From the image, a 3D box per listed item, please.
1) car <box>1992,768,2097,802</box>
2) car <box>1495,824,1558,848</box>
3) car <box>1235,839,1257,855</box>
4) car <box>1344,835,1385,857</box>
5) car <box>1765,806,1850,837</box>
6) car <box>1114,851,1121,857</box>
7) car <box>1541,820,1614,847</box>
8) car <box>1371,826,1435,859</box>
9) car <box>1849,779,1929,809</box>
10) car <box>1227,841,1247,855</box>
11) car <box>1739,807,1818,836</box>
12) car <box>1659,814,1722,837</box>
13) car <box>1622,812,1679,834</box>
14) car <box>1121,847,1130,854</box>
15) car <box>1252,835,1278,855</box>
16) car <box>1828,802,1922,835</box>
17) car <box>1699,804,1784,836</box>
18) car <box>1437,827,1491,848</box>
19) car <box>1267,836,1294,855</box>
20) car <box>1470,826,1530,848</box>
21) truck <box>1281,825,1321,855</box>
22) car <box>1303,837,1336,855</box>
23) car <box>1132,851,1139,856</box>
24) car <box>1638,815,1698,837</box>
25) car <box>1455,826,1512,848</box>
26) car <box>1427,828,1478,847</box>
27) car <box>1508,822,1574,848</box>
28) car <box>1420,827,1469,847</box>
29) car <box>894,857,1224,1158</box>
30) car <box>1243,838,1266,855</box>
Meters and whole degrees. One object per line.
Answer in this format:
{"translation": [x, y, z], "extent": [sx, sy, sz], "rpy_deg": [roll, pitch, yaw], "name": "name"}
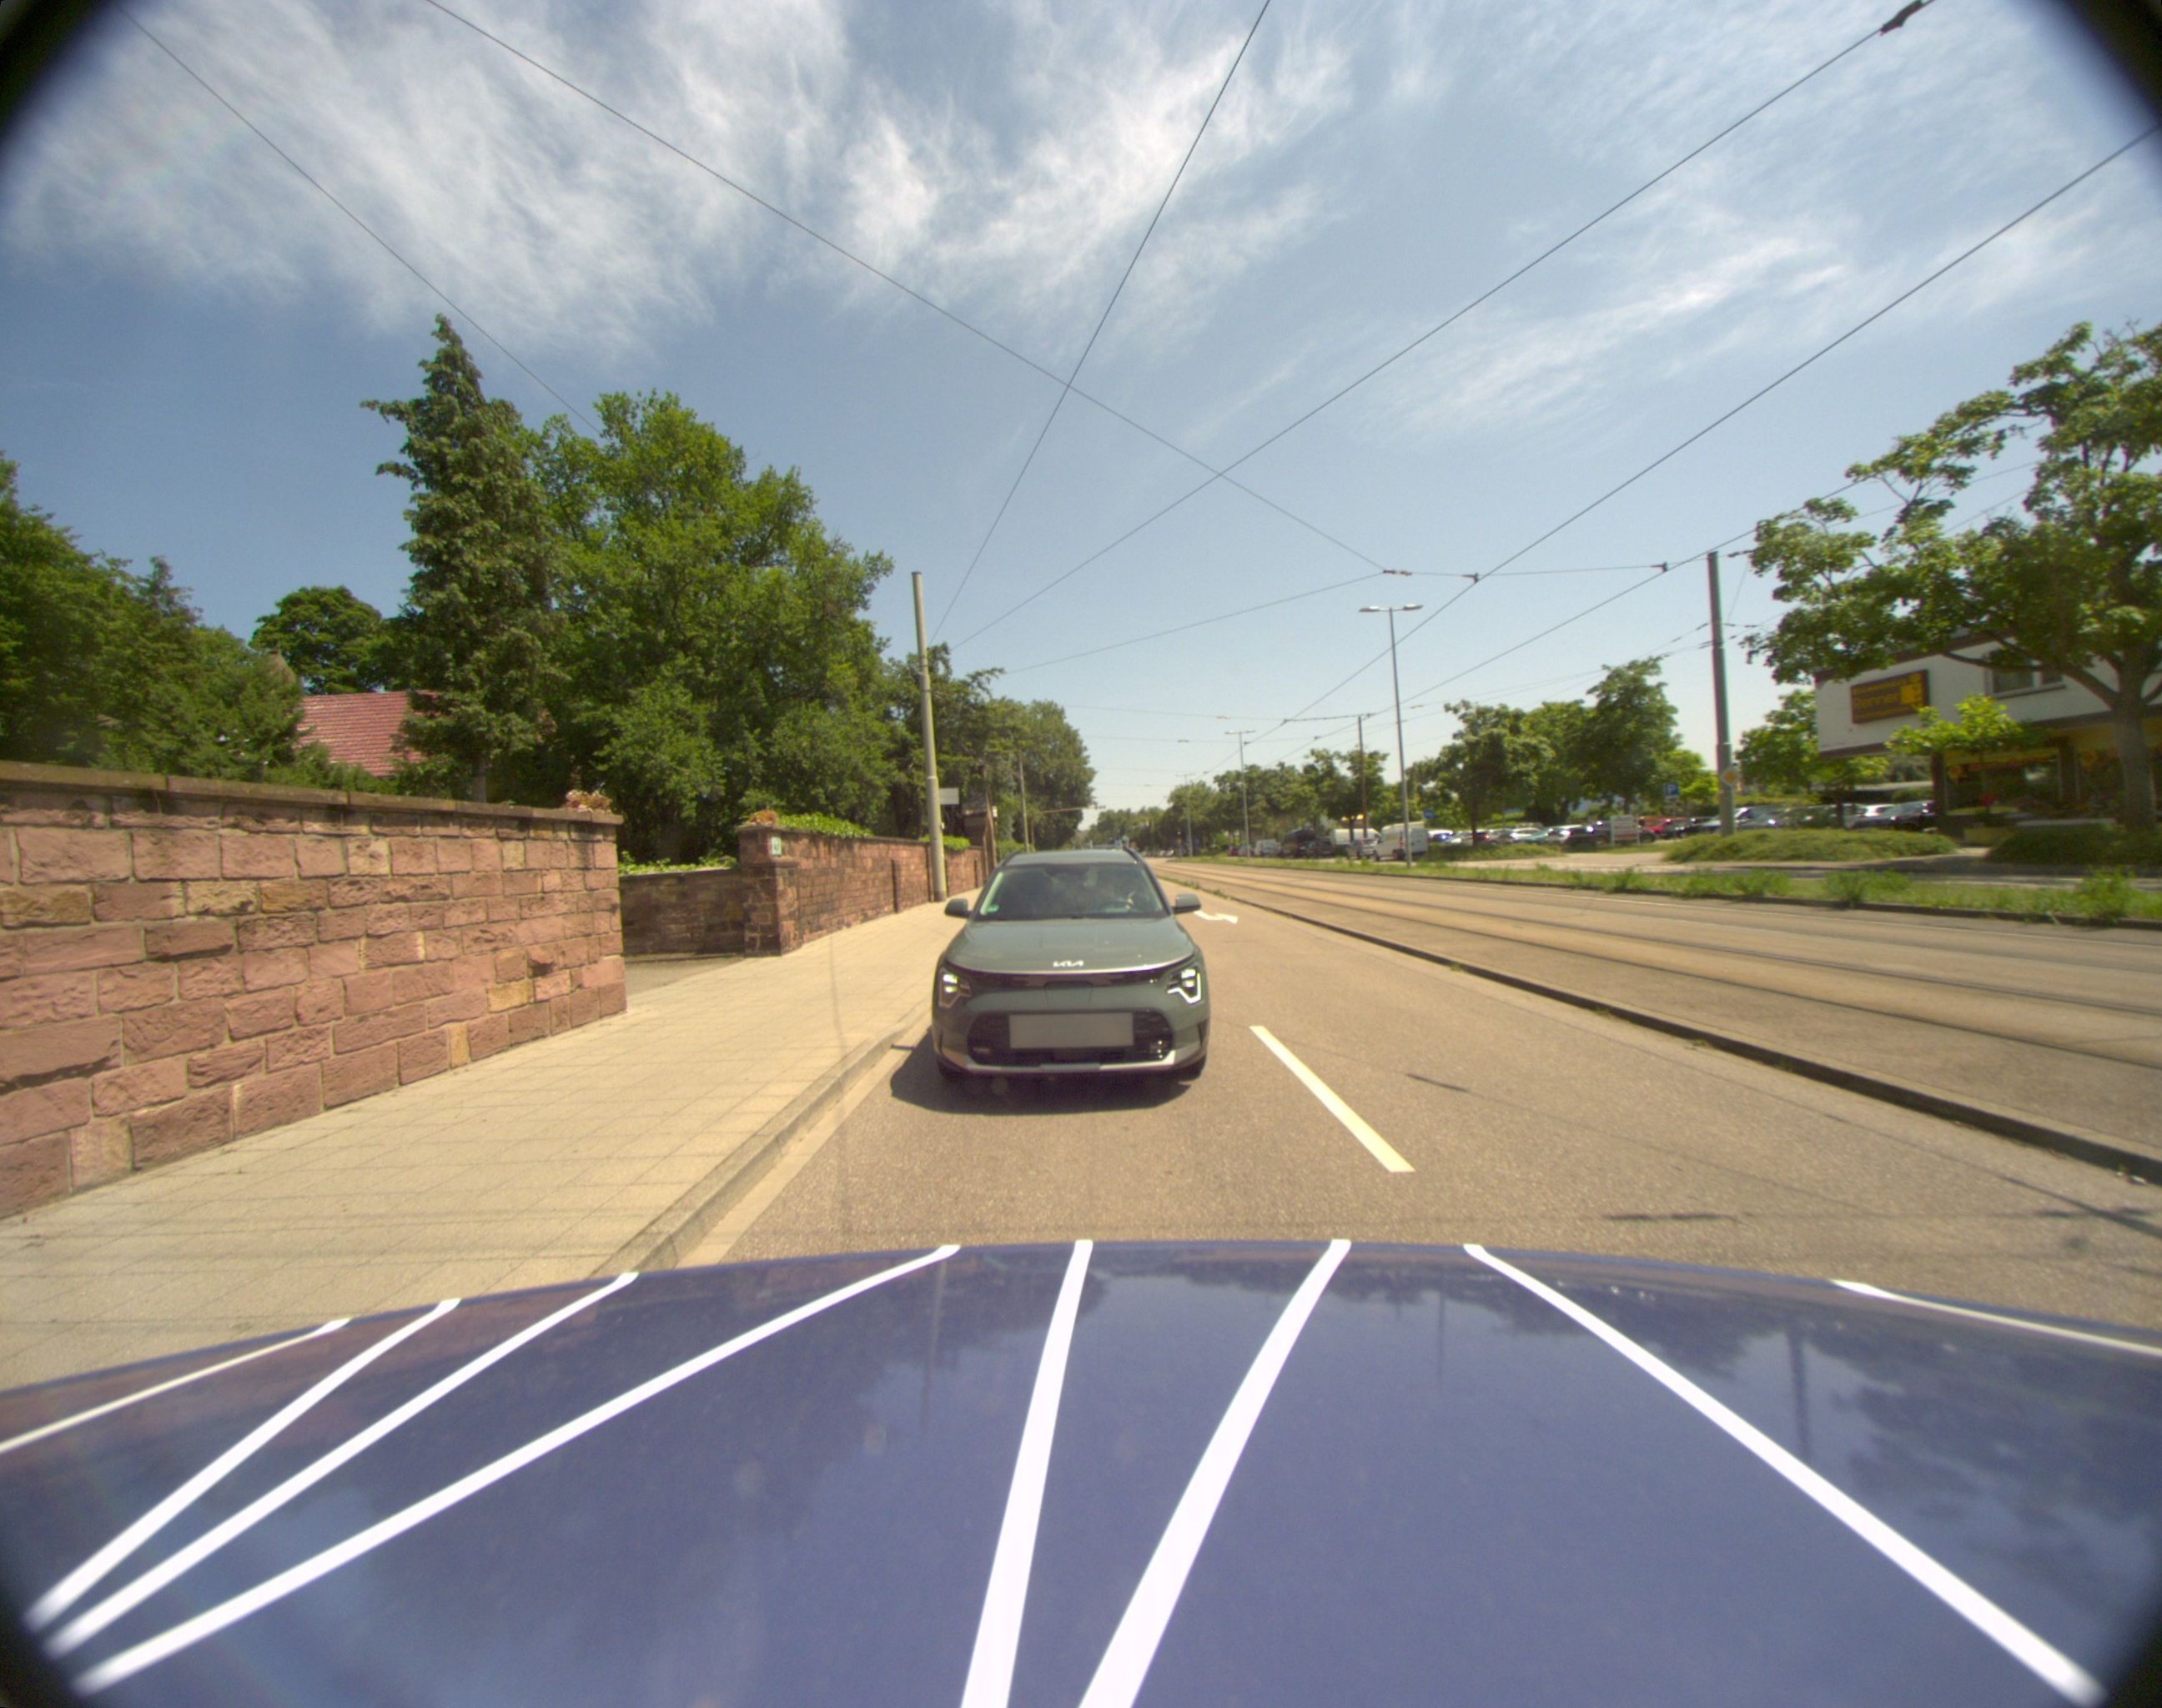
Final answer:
{"translation": [61.222, -4.347, 48.322], "extent": [3.996, 1.761, 2.000], "rpy_deg": [-3, 1, 2], "name": "car"}
{"translation": [30.663, -1.222, 52.363], "extent": [3.414, 1.386, 1.603], "rpy_deg": [-4, 1, -5], "name": "car"}
{"translation": [20.522, -0.865, 94.524], "extent": [1.681, 1.783, 4.202], "rpy_deg": [-3, 0, 0], "name": "car"}
{"translation": [20.197, -0.555, 54.217], "extent": [1.675, 1.378, 3.569], "rpy_deg": [-3, 0, 2], "name": "car"}
{"translation": [42.565, -1.910, 44.563], "extent": [3.492, 1.528, 1.624], "rpy_deg": [-4, 1, -2], "name": "car"}
{"translation": [12.029, -0.055, 251.664], "extent": [1.998, 1.652, 4.000], "rpy_deg": [-4, 0, 0], "name": "car"}
{"translation": [30.967, -1.260, 47.443], "extent": [3.414, 1.482, 1.793], "rpy_deg": [-4, 0, -5], "name": "car"}
{"translation": [20.181, -0.704, 47.849], "extent": [1.998, 1.872, 4.661], "rpy_deg": [-3, 0, 1], "name": "car"}
{"translation": [63.335, -4.668, 59.605], "extent": [3.996, 2.002, 2.000], "rpy_deg": [-3, 1, 2], "name": "car"}
{"translation": [20.777, -0.767, 101.345], "extent": [1.681, 1.693, 3.823], "rpy_deg": [-3, 0, 0], "name": "car"}
{"translation": [43.267, -1.984, 47.173], "extent": [3.492, 1.528, 1.534], "rpy_deg": [-4, 1, -2], "name": "car"}
{"translation": [43.840, -2.035, 54.663], "extent": [3.355, 1.381, 1.506], "rpy_deg": [-4, 1, -2], "name": "car"}
{"translation": [44.840, -2.430, 59.813], "extent": [3.355, 1.552, 1.506], "rpy_deg": [-4, 1, -2], "name": "car"}
{"translation": [11.452, -0.780, 194.623], "extent": [1.998, 1.652, 4.000], "rpy_deg": [-3, 0, 0], "name": "car"}
{"translation": [20.347, -0.978, 84.181], "extent": [1.681, 1.963, 4.509], "rpy_deg": [-3, 0, 0], "name": "car"}
{"translation": [43.703, -1.953, 41.864], "extent": [3.492, 1.528, 1.624], "rpy_deg": [-4, 1, -2], "name": "car"}
{"translation": [43.035, -2.192, 49.556], "extent": [3.998, 1.774, 1.813], "rpy_deg": [-4, 1, -2], "name": "car"}
{"translation": [30.269, -1.295, 60.082], "extent": [3.414, 1.386, 1.603], "rpy_deg": [-4, 1, -5], "name": "car"}
{"translation": [20.660, -0.895, 78.765], "extent": [1.681, 1.783, 3.868], "rpy_deg": [-3, 0, 0], "name": "car"}
{"translation": [30.095, -1.226, 54.623], "extent": [3.414, 1.386, 1.603], "rpy_deg": [-4, 1, -5], "name": "car"}
{"translation": [20.273, -1.294, 70.282], "extent": [2.225, 2.526, 4.929], "rpy_deg": [-3, 0, 1], "name": "truck"}
{"translation": [20.101, -0.648, 64.184], "extent": [1.675, 1.378, 3.669], "rpy_deg": [-3, 0, 2], "name": "car"}
{"translation": [15.767, -0.165, 220.257], "extent": [1.737, 1.469, 4.000], "rpy_deg": [-4, 0, 0], "name": "car"}
{"translation": [44.230, -2.086, 57.295], "extent": [3.355, 1.450, 1.506], "rpy_deg": [-4, 1, -2], "name": "car"}
{"translation": [30.525, -1.278, 57.675], "extent": [3.414, 1.386, 1.603], "rpy_deg": [-4, 1, -5], "name": "car"}
{"translation": [30.794, -1.347, 62.976], "extent": [3.414, 1.386, 1.603], "rpy_deg": [-4, 1, -5], "name": "car"}
{"translation": [30.181, -1.226, 49.891], "extent": [3.414, 1.482, 1.598], "rpy_deg": [-4, 1, -5], "name": "car"}
{"translation": [31.367, -1.488, 65.639], "extent": [3.414, 1.497, 1.603], "rpy_deg": [-4, 1, -5], "name": "car"}
{"translation": [-0.094, 0.876, 6.350], "extent": [1.789, 1.561, 4.184], "rpy_deg": [-2, 1, 1], "name": "car"}
{"translation": [20.502, -0.885, 90.031], "extent": [1.681, 1.783, 4.202], "rpy_deg": [-3, 0, 0], "name": "car"}
